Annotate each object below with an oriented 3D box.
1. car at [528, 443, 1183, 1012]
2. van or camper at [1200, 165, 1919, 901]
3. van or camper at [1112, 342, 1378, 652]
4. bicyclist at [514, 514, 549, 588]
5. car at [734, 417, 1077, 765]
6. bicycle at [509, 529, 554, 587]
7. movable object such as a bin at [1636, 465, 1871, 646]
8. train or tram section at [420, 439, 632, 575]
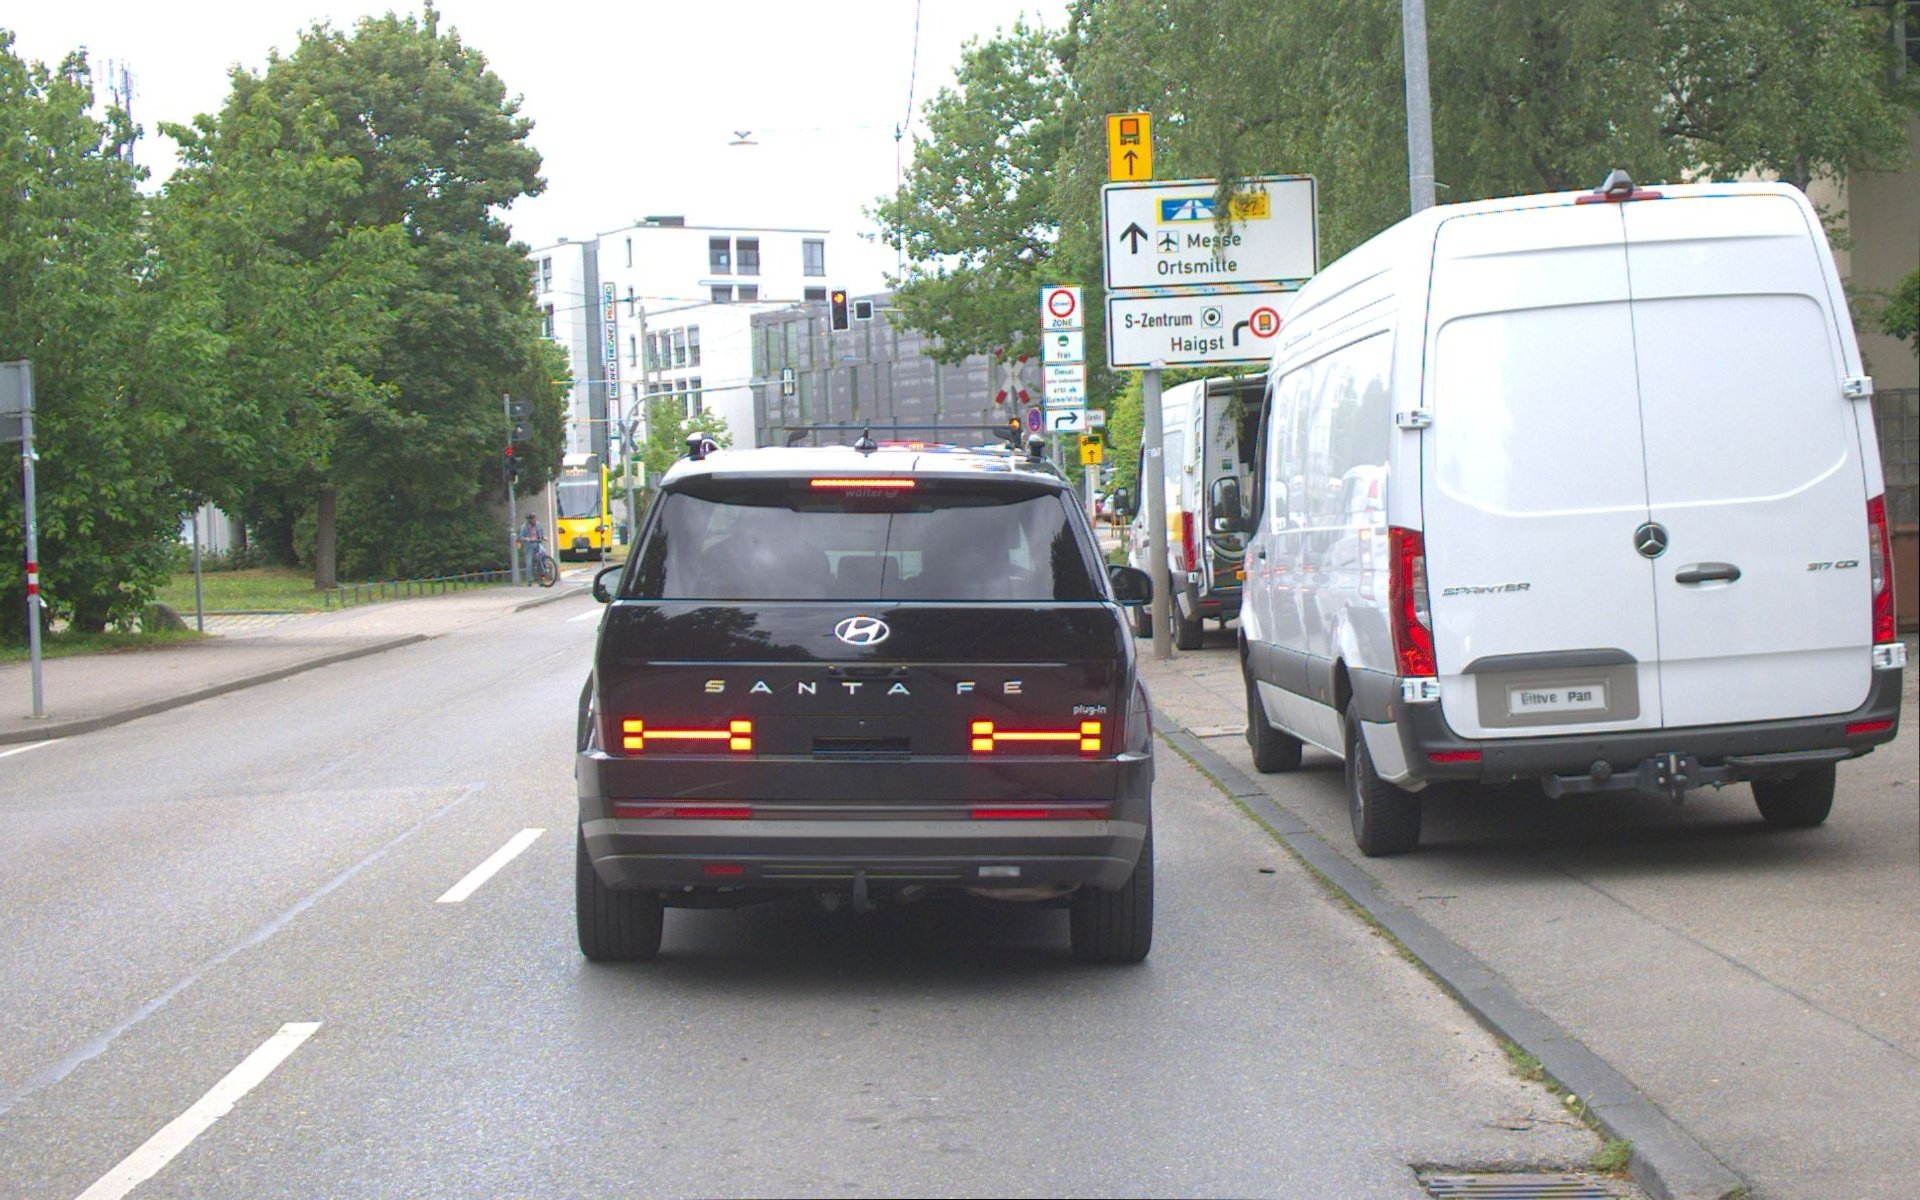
[{"bbox_3d":[-0.366,0.328,12.383,1.963,1.705,4.001,0,2,-1],"label":"car"},{"bbox_3d":[2.488,-0.340,15.994,1.963,2.618,6.359,-4,2,-1],"label":"van or camper"},{"bbox_3d":[2.783,-1.039,34.814,1.963,2.787,5.287,-3,2,-1],"label":"van or camper"},{"bbox_3d":[-9.672,-1.112,77.555,0.675,1.653,0.859,0,0,-14],"label":"bicyclist"},{"bbox_3d":[-0.364,-0.109,21.804,1.963,1.994,4.001,0,2,-1],"label":"car"},{"bbox_3d":[-9.666,-0.931,77.527,0.675,1.275,2.502,0,0,-14],"label":"bicycle"},{"bbox_3d":[6.681,-0.392,29.052,1.449,1.468,1.718,-1,2,-6],"label":"movable object such as a bin"},{"bbox_3d":[-16.332,-3.267,127.389,3.192,4.507,18.688,0,0,-22],"label":"train or tram section"}]
